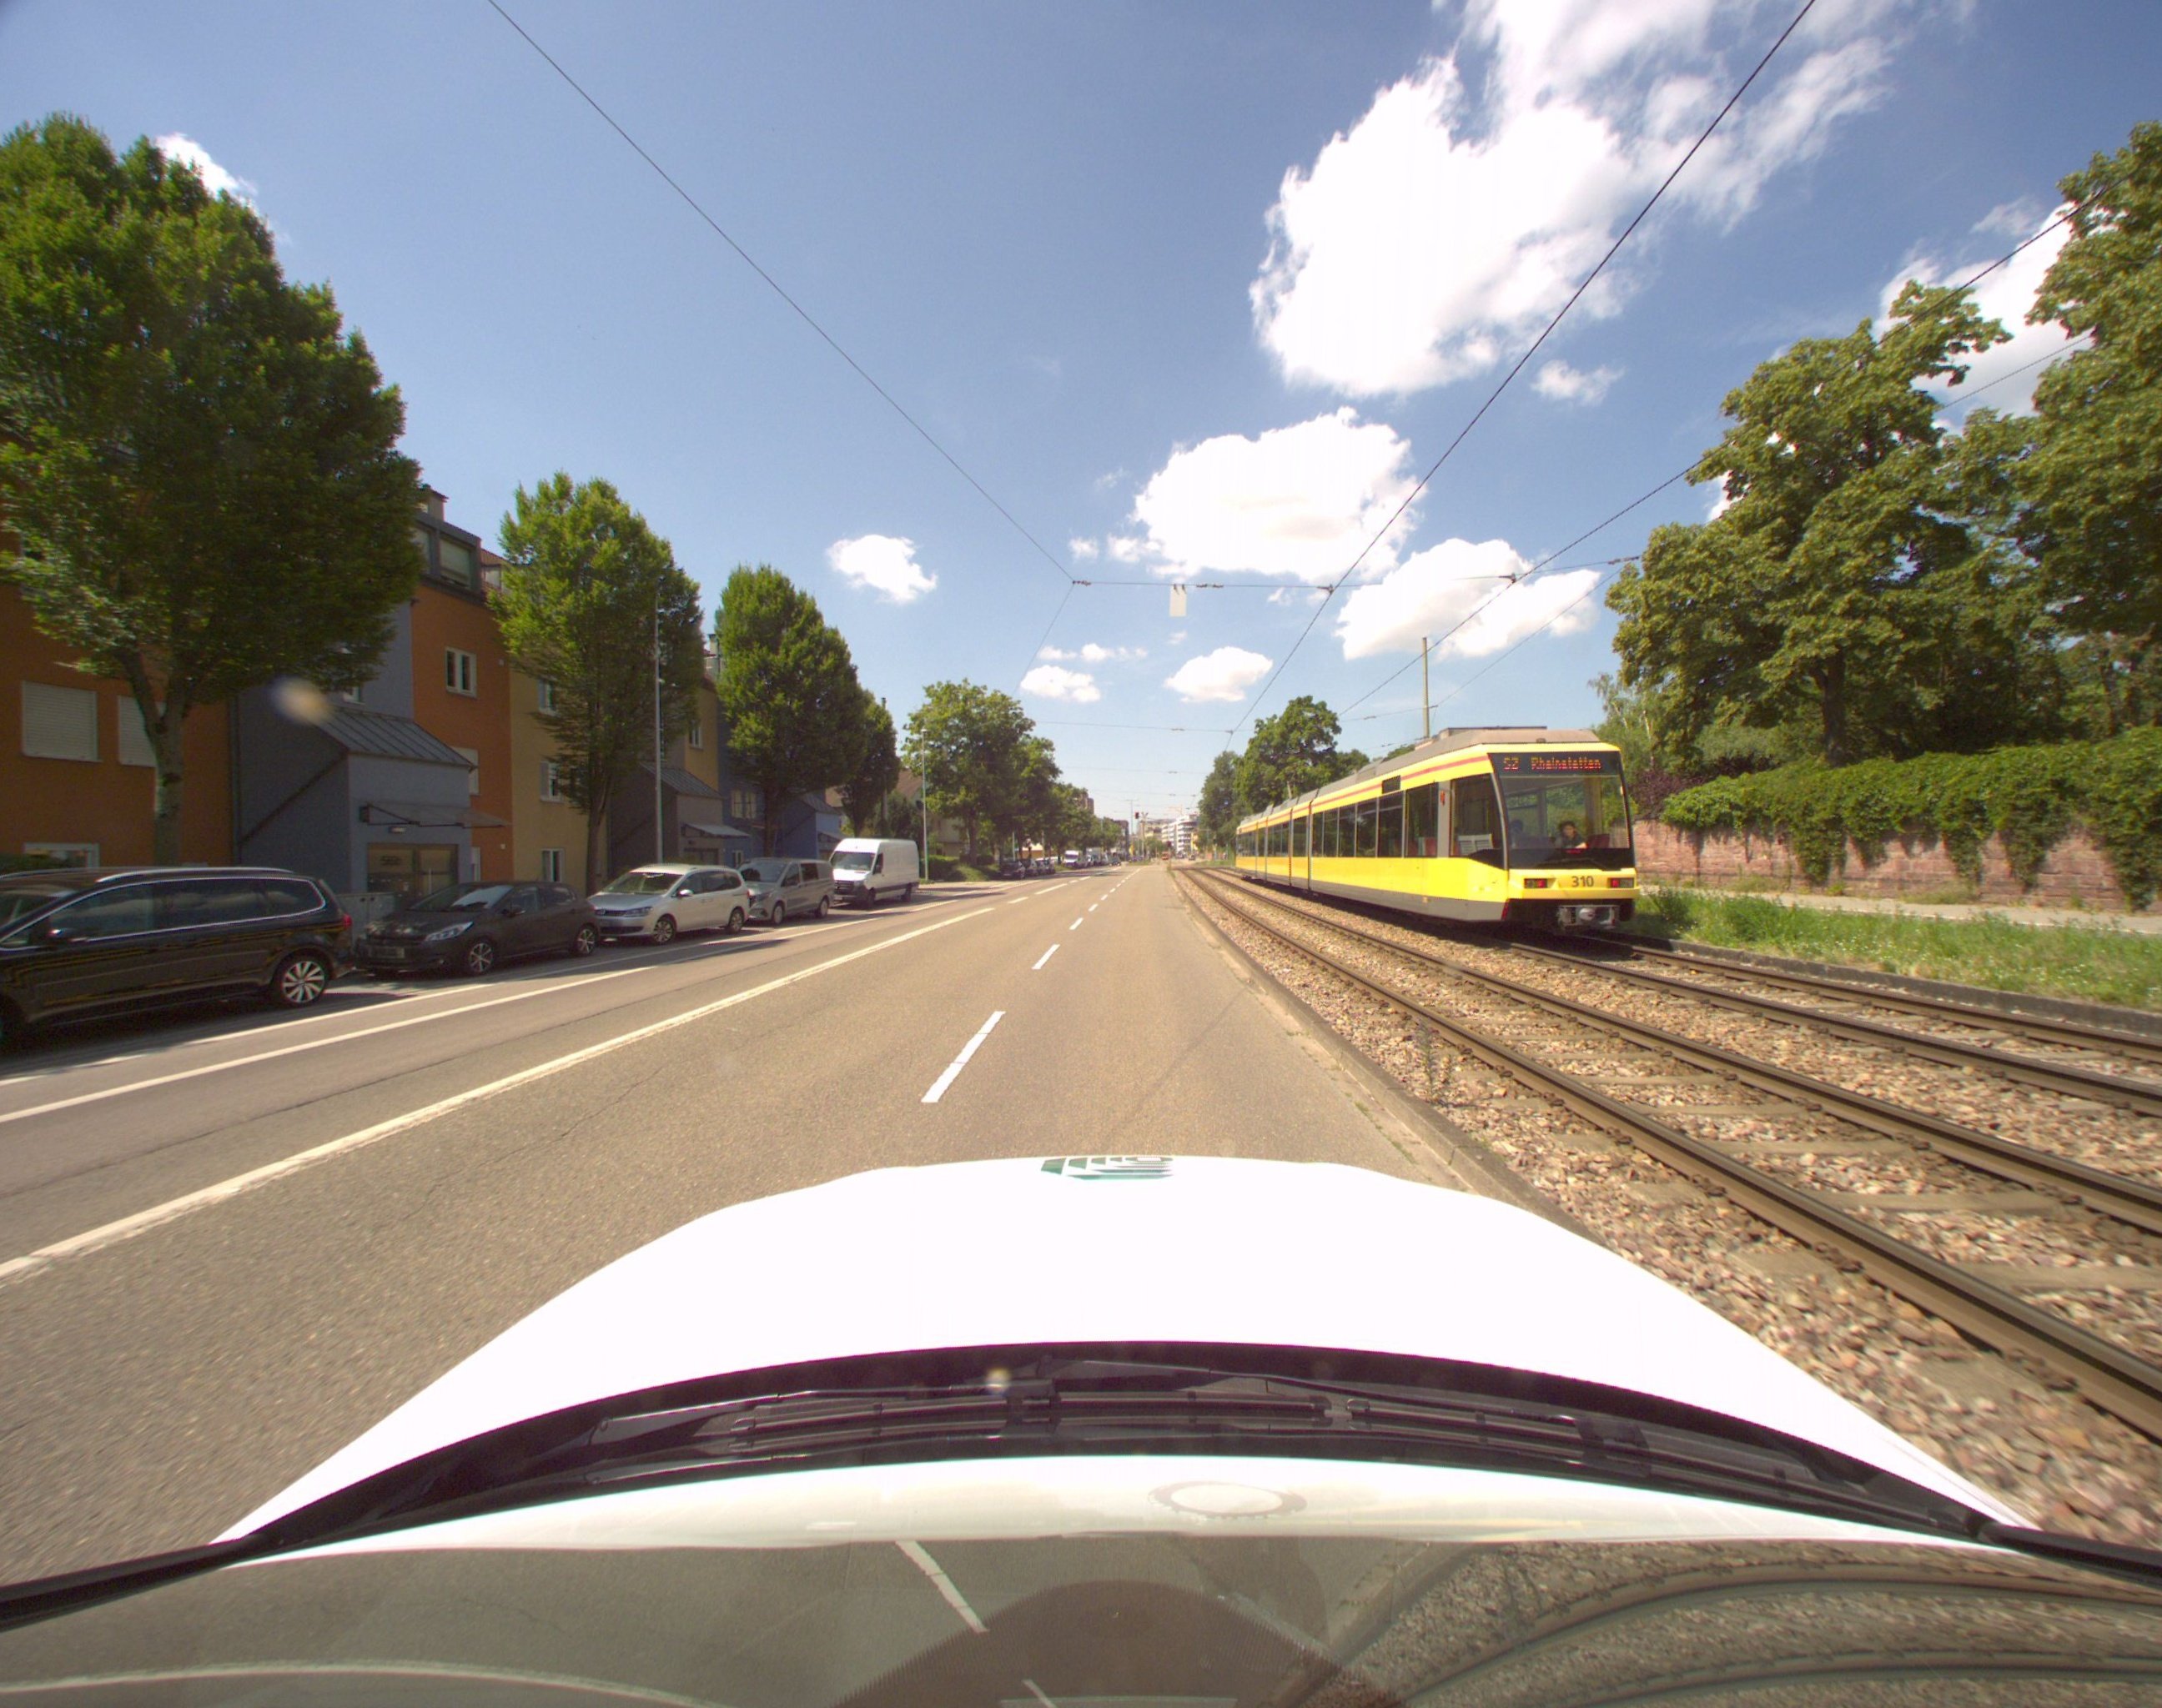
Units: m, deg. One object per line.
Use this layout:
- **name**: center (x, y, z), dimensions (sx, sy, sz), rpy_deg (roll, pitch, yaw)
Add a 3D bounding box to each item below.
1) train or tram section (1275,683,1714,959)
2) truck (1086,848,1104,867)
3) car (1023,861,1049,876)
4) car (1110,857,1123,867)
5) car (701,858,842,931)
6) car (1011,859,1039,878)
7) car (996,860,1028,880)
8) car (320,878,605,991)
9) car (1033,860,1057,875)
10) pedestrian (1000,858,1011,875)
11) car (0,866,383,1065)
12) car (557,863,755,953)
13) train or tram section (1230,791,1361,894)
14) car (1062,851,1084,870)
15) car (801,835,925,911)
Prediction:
- **train or tram section**: center (7.750, -0.421, 20.183), dimensions (2.930, 3.692, 18.412), rpy_deg (0, 0, 5)
- **truck**: center (2.426, 0.578, 139.129), dimensions (2.145, 3.210, 7.098), rpy_deg (2, 0, 8)
- **car**: center (-4.201, 1.361, 76.769), dimensions (1.767, 1.373, 4.702), rpy_deg (1, 0, 4)
- **car**: center (5.689, 1.212, 130.101), dimensions (1.767, 1.460, 4.200), rpy_deg (-3, 0, 4)
- **car**: center (-9.199, 1.110, 24.819), dimensions (1.798, 1.895, 5.369), rpy_deg (-2, 0, 5)
- **car**: center (-4.851, 1.205, 71.200), dimensions (1.767, 1.604, 4.642), rpy_deg (0, 0, 4)
- **car**: center (-5.351, 1.240, 63.602), dimensions (1.767, 1.456, 4.809), rpy_deg (-1, 0, 4)
- **car**: center (-10.224, 1.237, 13.926), dimensions (1.592, 1.471, 4.090), rpy_deg (-2, 0, 3)
- **car**: center (-3.582, 1.352, 81.313), dimensions (1.766, 1.481, 4.054), rpy_deg (0, 0, 6)
- **pedestrian**: center (-8.166, 1.395, 88.197), dimensions (0.970, 1.823, 0.795), rpy_deg (-2, -1, 3)
- **car**: center (-10.476, 1.044, 8.635), dimensions (1.744, 1.716, 4.891), rpy_deg (-2, 0, 3)
- **car**: center (-9.626, 1.128, 19.005), dimensions (1.708, 1.752, 4.910), rpy_deg (-2, 0, 5)
- **train or tram section**: center (9.567, -0.394, 39.460), dimensions (2.929, 3.692, 20.315), rpy_deg (0, 0, 6)
- **car**: center (-1.020, 0.826, 111.137), dimensions (2.145, 2.487, 6.207), rpy_deg (0, 0, 8)
- **car**: center (-8.613, 0.693, 33.118), dimensions (2.312, 2.651, 7.047), rpy_deg (3, 0, 6)
